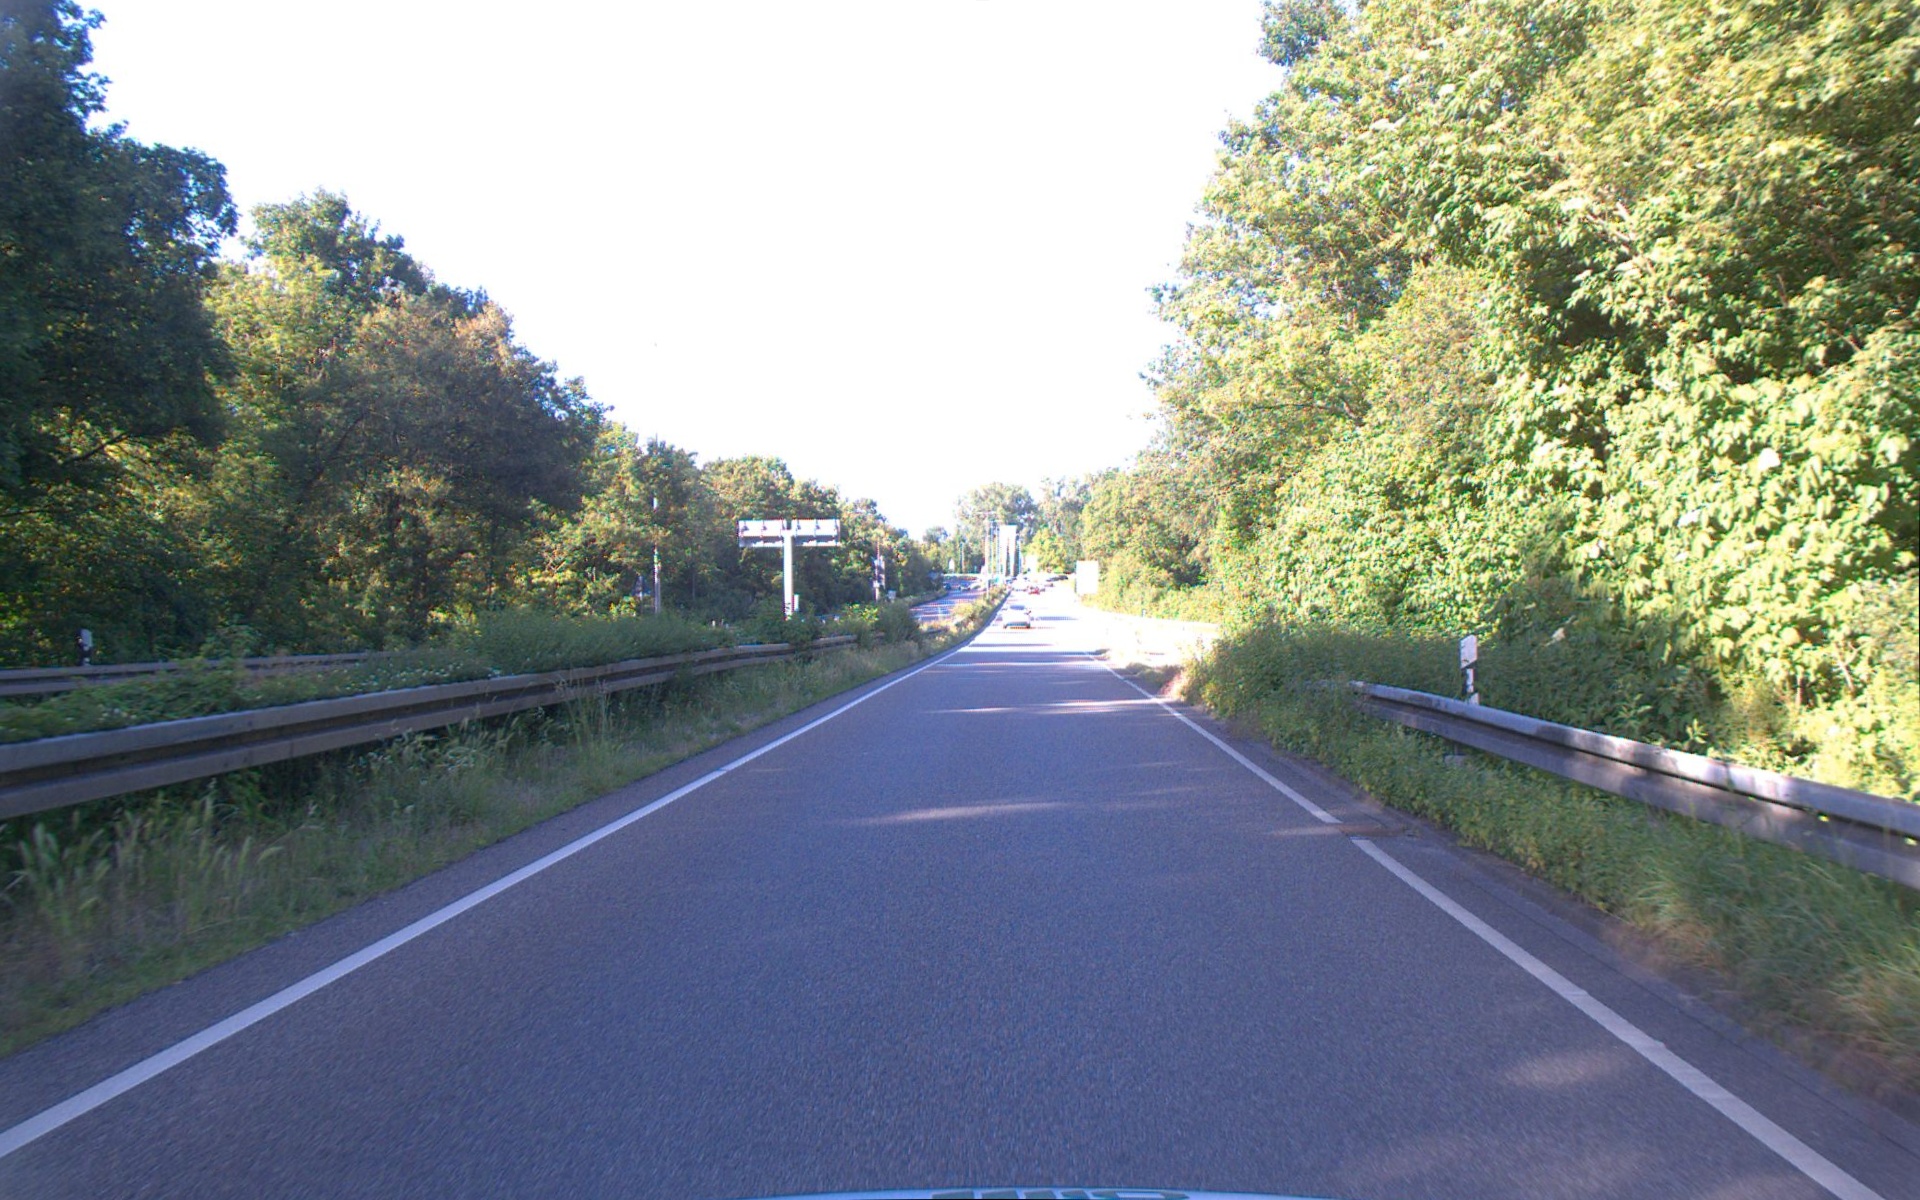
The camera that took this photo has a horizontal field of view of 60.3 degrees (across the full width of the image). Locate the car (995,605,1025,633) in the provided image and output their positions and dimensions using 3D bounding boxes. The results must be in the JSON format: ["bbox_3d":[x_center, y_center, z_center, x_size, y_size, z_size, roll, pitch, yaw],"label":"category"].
[{"bbox_3d":[3.464,1.323,114.219,1.846,1.847,3.999,2,0,-1],"label":"car"}]
